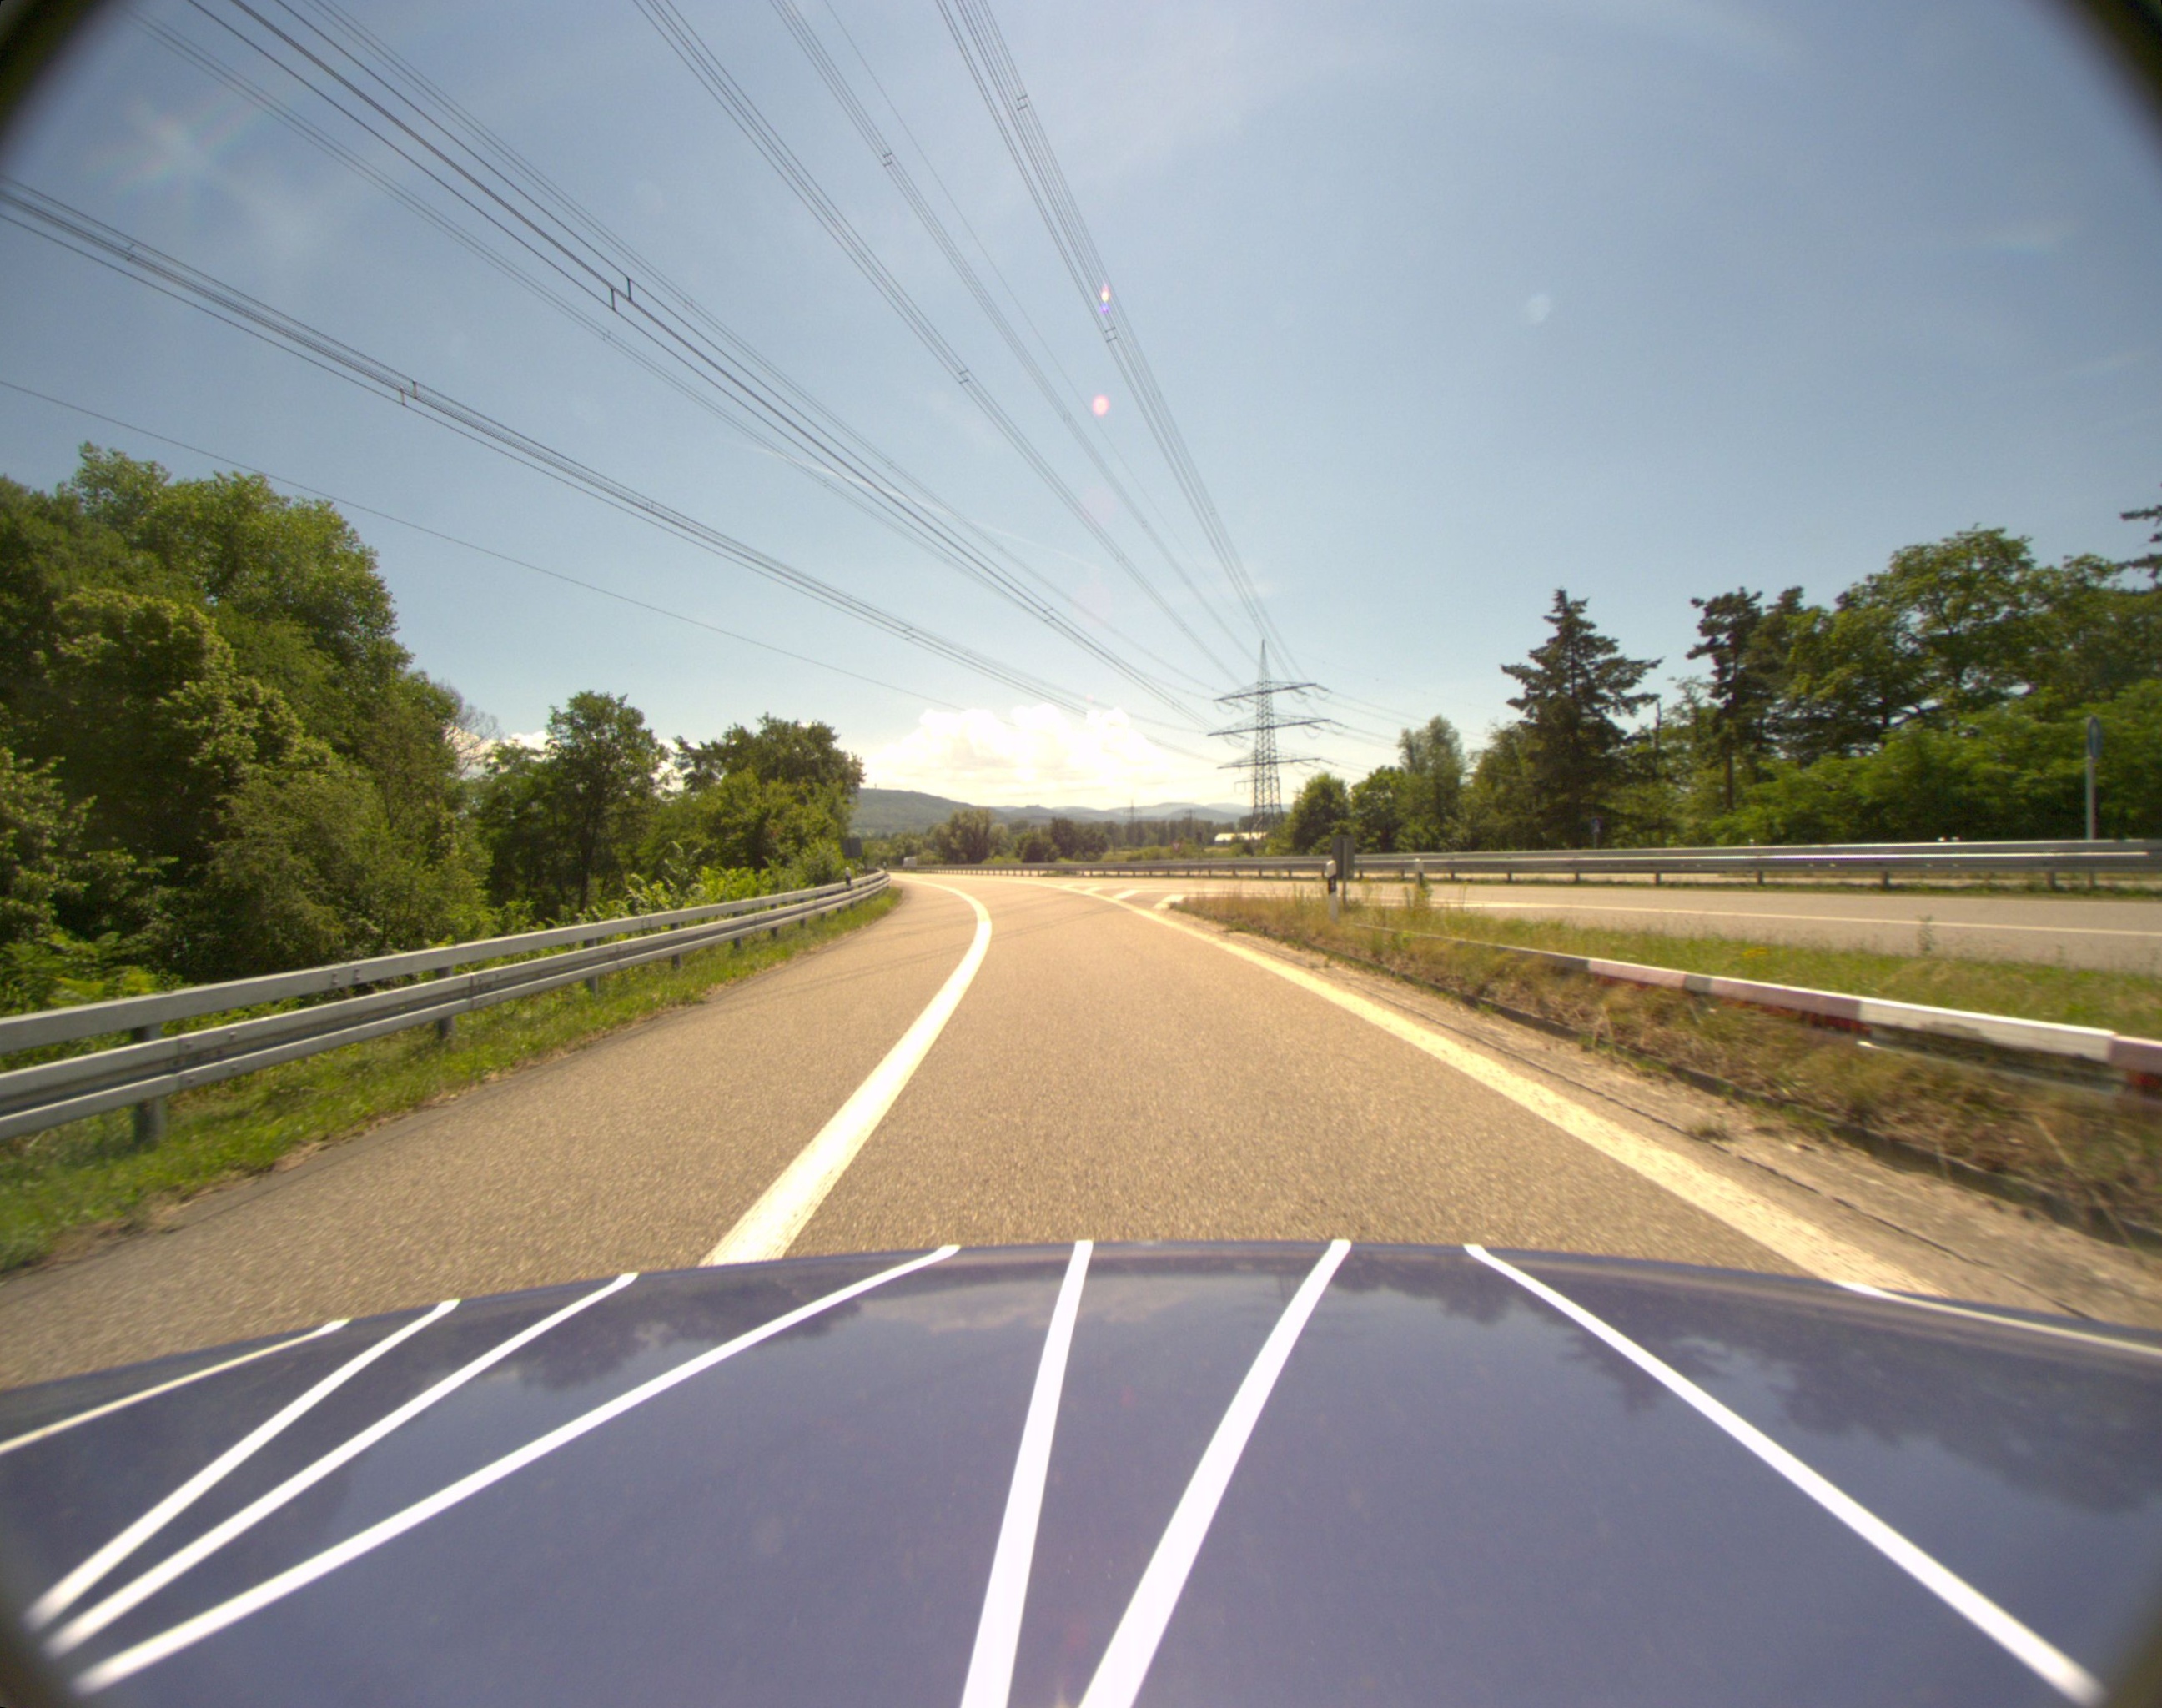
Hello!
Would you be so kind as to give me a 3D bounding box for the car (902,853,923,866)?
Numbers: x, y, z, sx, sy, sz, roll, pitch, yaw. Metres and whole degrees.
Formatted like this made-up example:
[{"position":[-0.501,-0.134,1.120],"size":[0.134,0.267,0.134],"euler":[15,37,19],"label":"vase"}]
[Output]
[{"position":[-34.551,1.178,155.489],"size":[2.536,2.602,7.170],"euler":[0,-1,-26],"label":"car"}]
